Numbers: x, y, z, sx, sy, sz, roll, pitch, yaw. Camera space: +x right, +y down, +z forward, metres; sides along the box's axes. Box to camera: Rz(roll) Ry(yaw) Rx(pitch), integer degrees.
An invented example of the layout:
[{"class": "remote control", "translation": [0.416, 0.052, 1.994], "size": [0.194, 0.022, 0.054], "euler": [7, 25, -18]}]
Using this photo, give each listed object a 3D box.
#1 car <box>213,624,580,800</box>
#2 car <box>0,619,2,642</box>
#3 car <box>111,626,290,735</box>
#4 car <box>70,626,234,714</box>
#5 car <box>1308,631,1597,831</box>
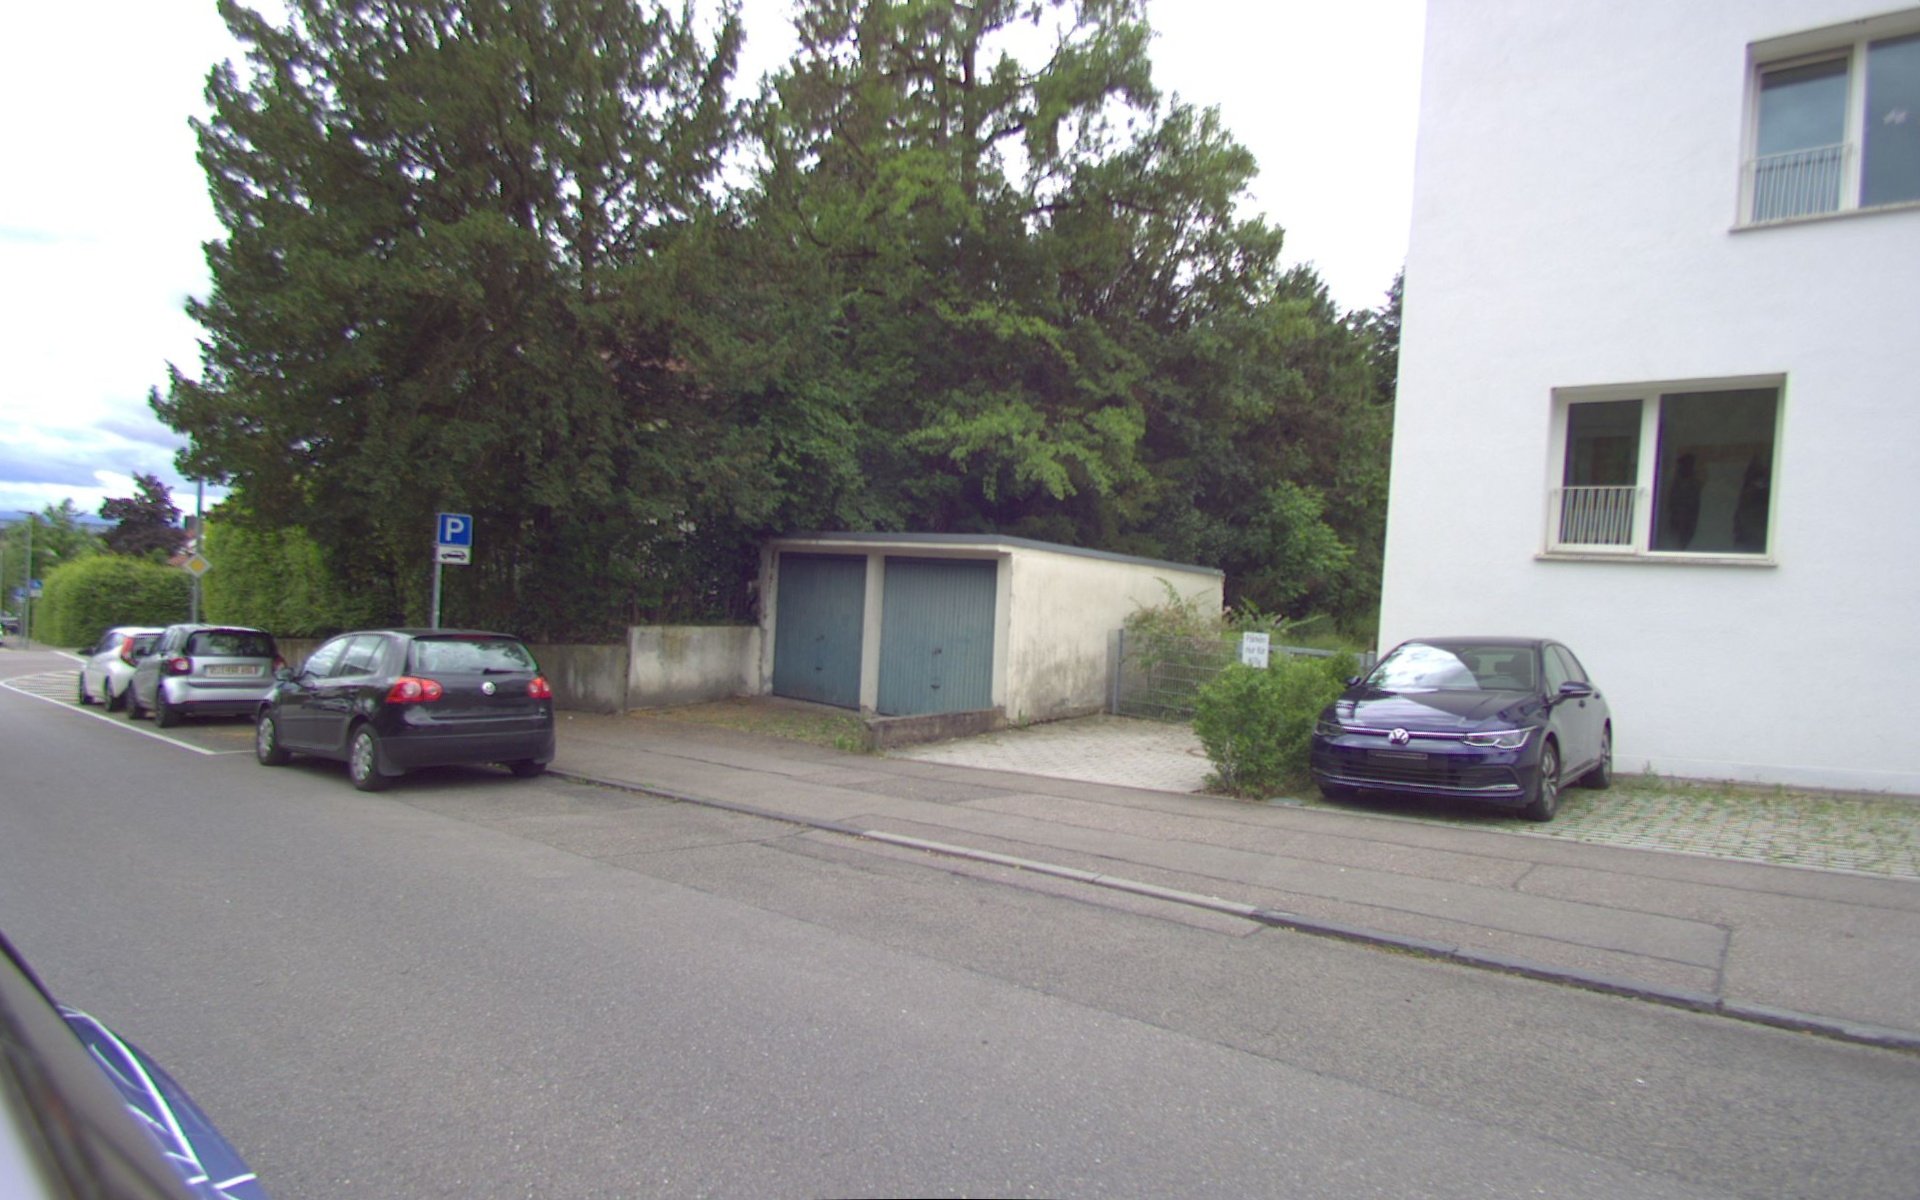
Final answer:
[{"class": "car", "translation": [-6.138, 1.021, 10.780], "size": [4.678, 1.481, 1.832], "euler": [-1, -3, 40]}, {"class": "car", "translation": [-47.763, 1.629, 49.099], "size": [3.581, 1.430, 1.670], "euler": [-2, -5, 45]}, {"class": "car", "translation": [-12.032, 1.194, 15.997], "size": [2.973, 1.530, 1.607], "euler": [-1, -2, 40]}, {"class": "car", "translation": [-14.908, 1.235, 18.622], "size": [3.512, 1.459, 1.726], "euler": [-1, -4, 41]}, {"class": "car", "translation": [4.530, 0.958, 9.007], "size": [1.738, 1.364, 3.761], "euler": [-1, -2, 35]}]
